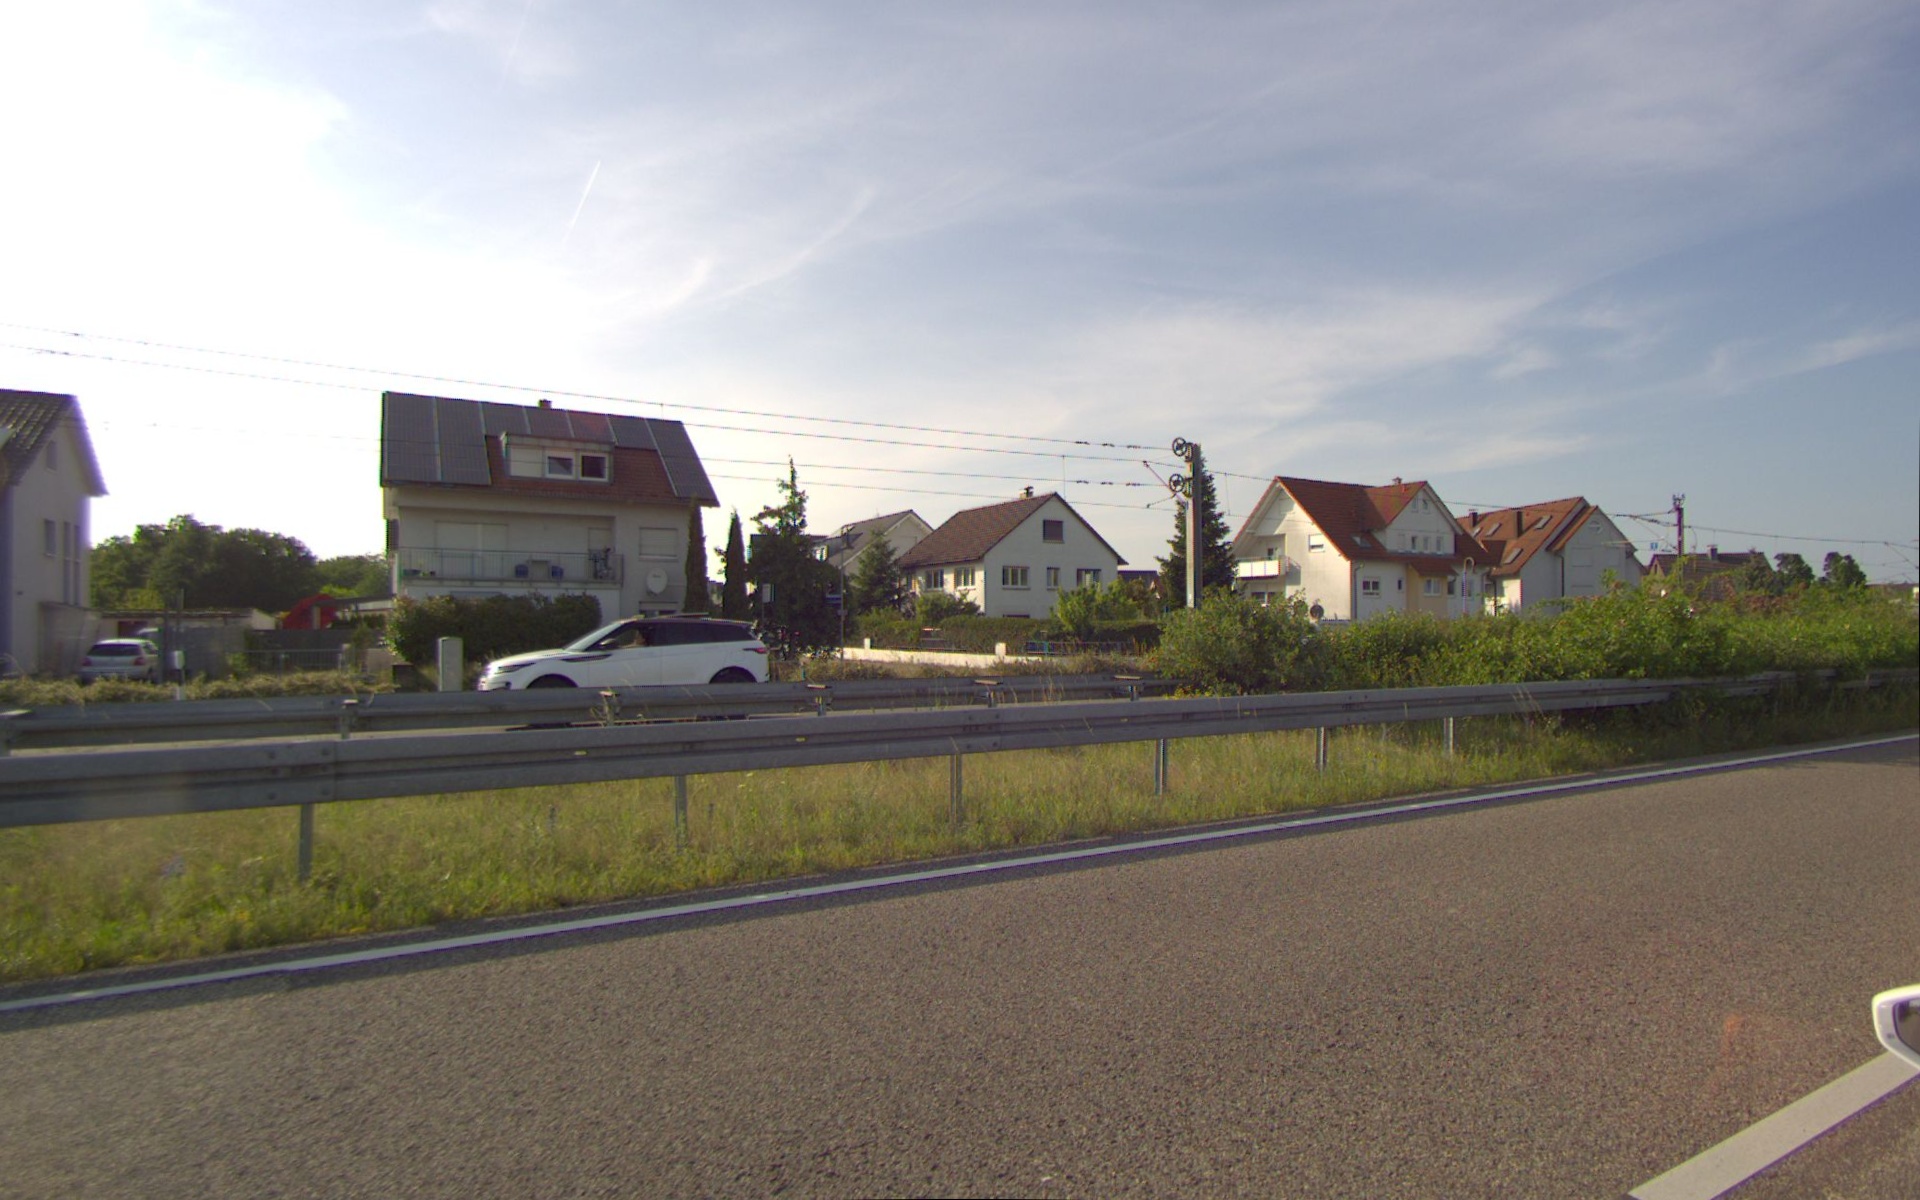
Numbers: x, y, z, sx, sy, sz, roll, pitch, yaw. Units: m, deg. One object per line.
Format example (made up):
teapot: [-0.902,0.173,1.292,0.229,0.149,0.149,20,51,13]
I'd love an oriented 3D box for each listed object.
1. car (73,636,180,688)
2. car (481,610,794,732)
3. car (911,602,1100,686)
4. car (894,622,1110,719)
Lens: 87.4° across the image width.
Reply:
car: [-26.445,1.926,32.010,1.760,1.417,3.973,0,-1,-27]
car: [-4.968,1.009,15.661,4.395,1.633,1.706,1,1,-31]
car: [1.069,0.970,23.316,3.953,1.773,1.984,1,1,-31]
car: [0.840,1.266,19.267,3.837,1.633,1.706,1,1,-31]
